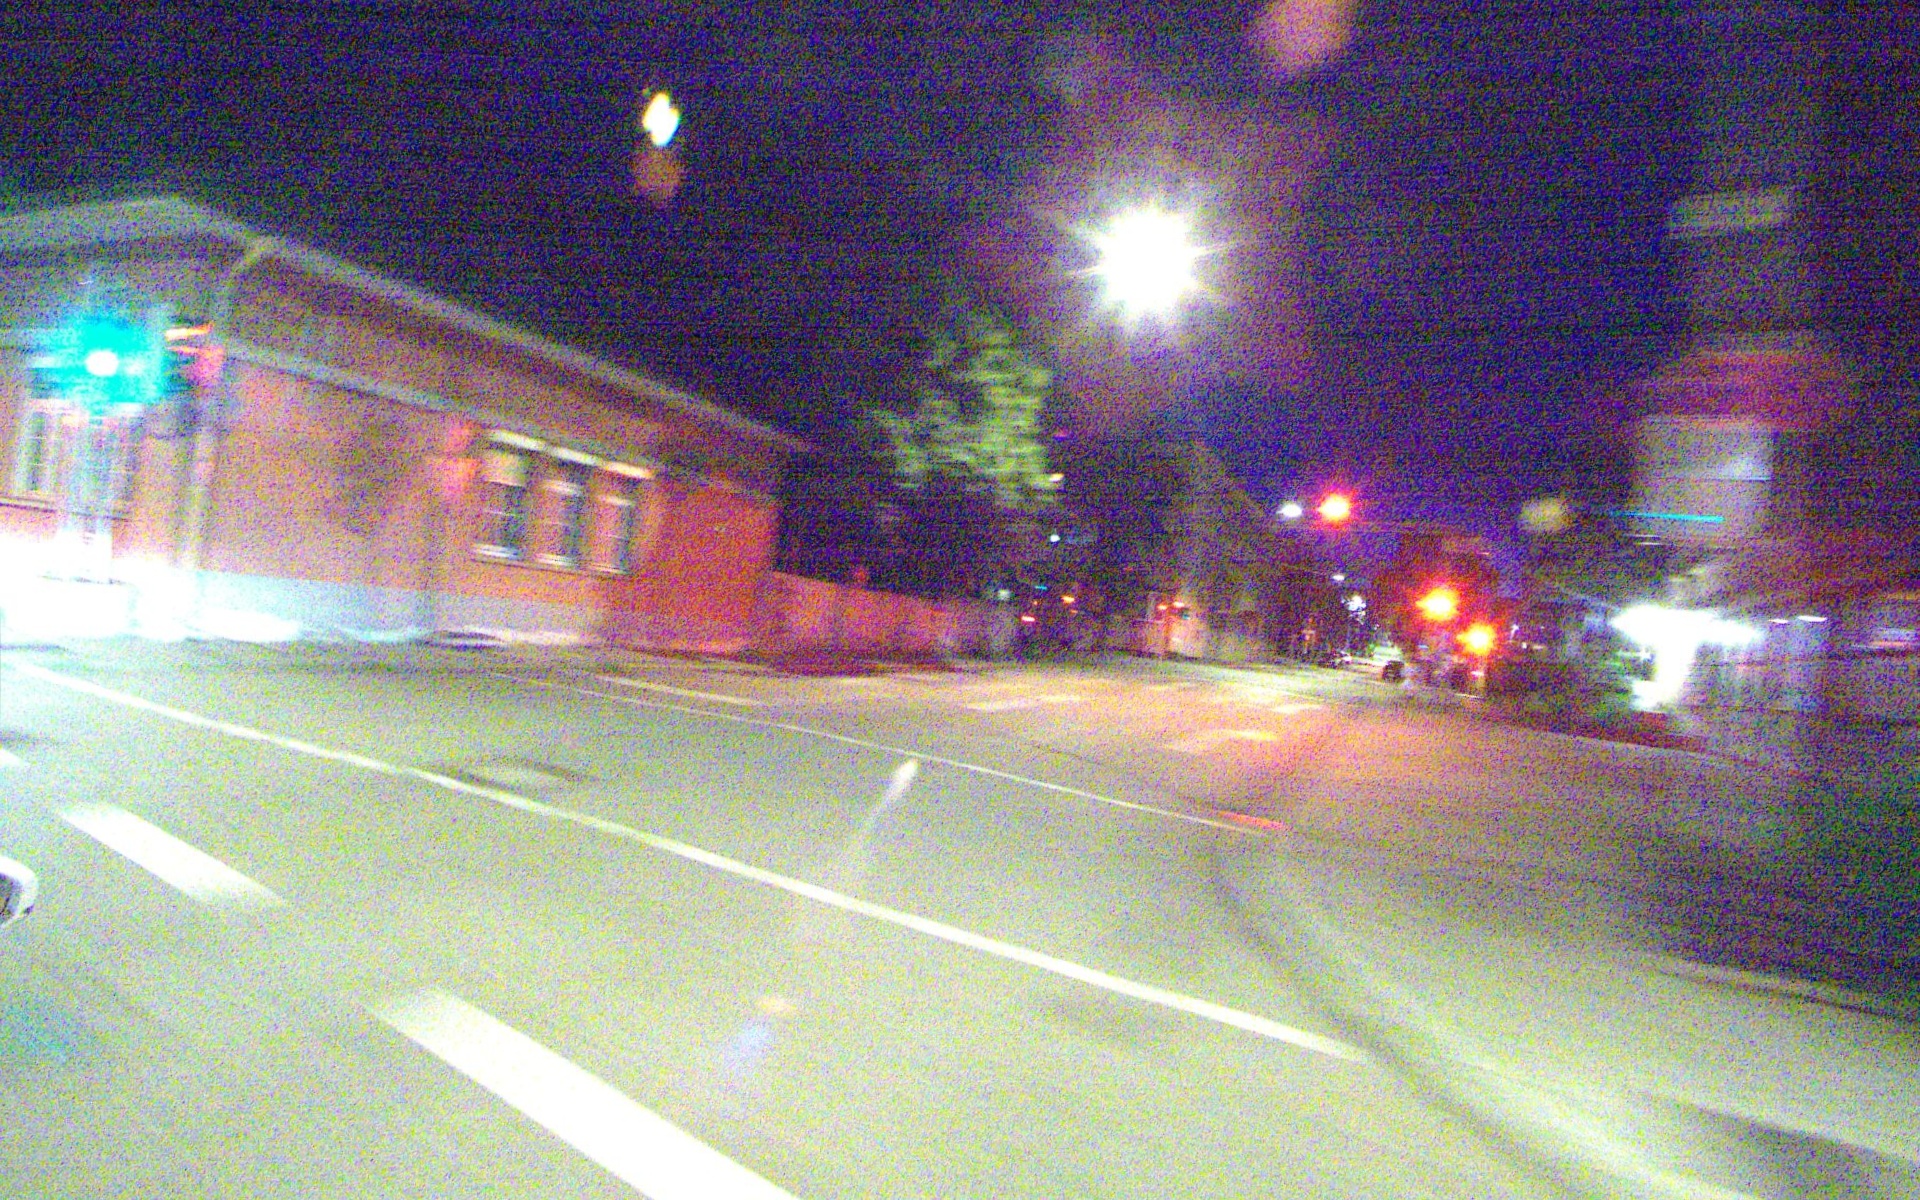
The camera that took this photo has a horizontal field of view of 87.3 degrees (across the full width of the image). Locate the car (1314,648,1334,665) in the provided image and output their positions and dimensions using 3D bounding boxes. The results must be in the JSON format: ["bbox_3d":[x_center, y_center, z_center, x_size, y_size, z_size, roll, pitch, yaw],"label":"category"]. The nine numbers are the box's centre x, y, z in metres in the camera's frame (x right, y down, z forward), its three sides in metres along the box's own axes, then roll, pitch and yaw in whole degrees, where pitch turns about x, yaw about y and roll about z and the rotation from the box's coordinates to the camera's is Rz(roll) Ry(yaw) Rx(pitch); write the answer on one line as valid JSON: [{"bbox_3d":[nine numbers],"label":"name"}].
[{"bbox_3d":[40.478,6.311,111.909,1.690,1.591,4.202,8,0,23],"label":"car"}]

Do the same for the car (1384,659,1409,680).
[{"bbox_3d":[38.721,6.113,89.244,1.691,1.591,4.200,8,0,26],"label":"car"}]

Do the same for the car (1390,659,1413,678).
[{"bbox_3d":[42.819,6.644,97.490,1.691,1.591,4.200,8,0,26],"label":"car"}]
